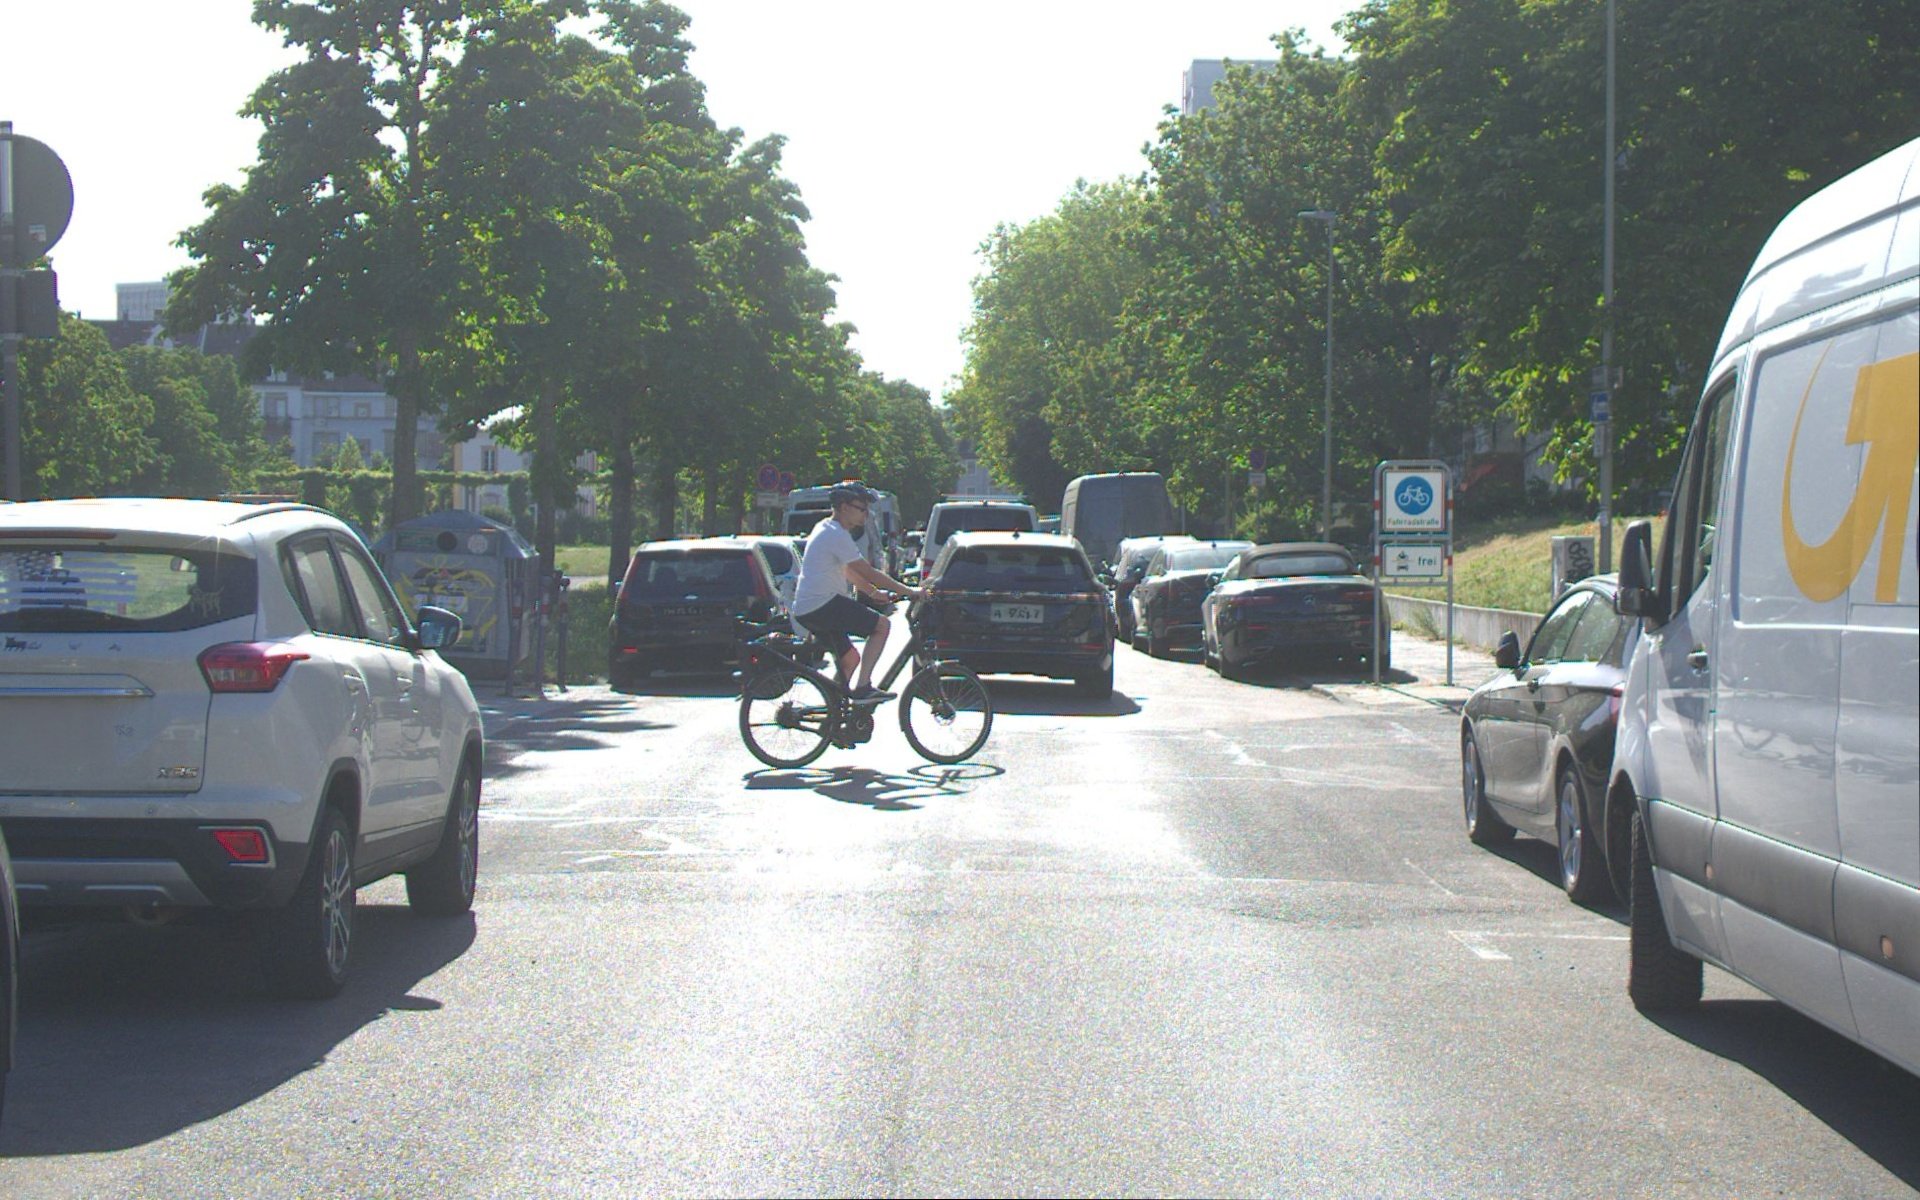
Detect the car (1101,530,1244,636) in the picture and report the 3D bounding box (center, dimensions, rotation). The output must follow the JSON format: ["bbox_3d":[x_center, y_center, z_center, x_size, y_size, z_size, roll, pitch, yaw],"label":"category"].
[{"bbox_3d":[3.094,-0.285,50.770,1.779,1.482,4.032,0,1,-1],"label":"car"}]

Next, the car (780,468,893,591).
[{"bbox_3d":[-2.547,-1.480,71.885,2.098,2.487,4.127,1,1,1],"label":"car"}]

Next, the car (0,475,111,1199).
[{"bbox_3d":[-3.068,0.588,6.210,1.843,1.633,4.715,-1,1,0],"label":"car"}]

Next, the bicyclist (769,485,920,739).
[{"bbox_3d":[-0.745,0.069,22.002,0.788,1.590,0.696,0,1,-18],"label":"bicyclist"}]

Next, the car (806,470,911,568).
[{"bbox_3d":[-2.819,-2.293,97.337,2.617,2.636,6.114,1,1,1],"label":"car"}]

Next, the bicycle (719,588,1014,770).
[{"bbox_3d":[-0.603,0.494,22.053,1.759,1.123,0.663,0,1,-18],"label":"bicycle"}]

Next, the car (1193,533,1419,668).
[{"bbox_3d":[3.790,-0.041,38.433,2.125,1.333,4.506,-2,1,1],"label":"car"}]

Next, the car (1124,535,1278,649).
[{"bbox_3d":[3.066,-0.134,44.397,1.779,1.366,4.127,1,1,1],"label":"car"}]

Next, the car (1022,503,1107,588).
[{"bbox_3d":[2.875,-1.537,95.570,2.163,2.284,5.266,0,1,0],"label":"car"}]

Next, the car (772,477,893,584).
[{"bbox_3d":[-2.399,-1.330,65.473,2.098,1.936,4.127,1,1,0],"label":"car"}]

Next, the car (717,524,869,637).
[{"bbox_3d":[-2.247,-0.299,47.221,1.779,1.456,4.127,1,1,1],"label":"car"}]

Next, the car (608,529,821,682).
[{"bbox_3d":[-2.425,0.034,34.775,1.748,1.420,3.916,-1,1,1],"label":"car"}]

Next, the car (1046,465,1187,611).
[{"bbox_3d":[2.944,-1.206,65.929,2.162,2.680,5.417,0,1,-3],"label":"car"}]

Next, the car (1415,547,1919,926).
[{"bbox_3d":[3.466,0.524,16.280,1.958,1.476,4.499,-1,1,-1],"label":"car"}]

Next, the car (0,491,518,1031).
[{"bbox_3d":[-2.846,0.452,12.680,1.756,1.641,4.287,-1,1,1],"label":"car"}]

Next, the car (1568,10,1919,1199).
[{"bbox_3d":[3.136,0.065,8.617,2.143,2.703,6.841,-1,1,2],"label":"car"}]

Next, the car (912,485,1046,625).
[{"bbox_3d":[0.323,-0.694,51.544,1.894,1.984,4.010,-1,1,1],"label":"car"}]

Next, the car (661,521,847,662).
[{"bbox_3d":[-2.301,-0.122,39.293,1.777,1.490,3.875,-1,1,1],"label":"car"}]

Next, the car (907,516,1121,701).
[{"bbox_3d":[0.507,0.024,31.341,1.779,1.526,4.000,2,1,1],"label":"car"}]

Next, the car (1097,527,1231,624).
[{"bbox_3d":[3.272,-0.431,55.826,1.988,1.482,4.127,1,1,1],"label":"car"}]

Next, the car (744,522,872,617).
[{"bbox_3d":[-2.476,-0.536,57.021,1.833,1.494,4.127,1,1,1],"label":"car"}]
